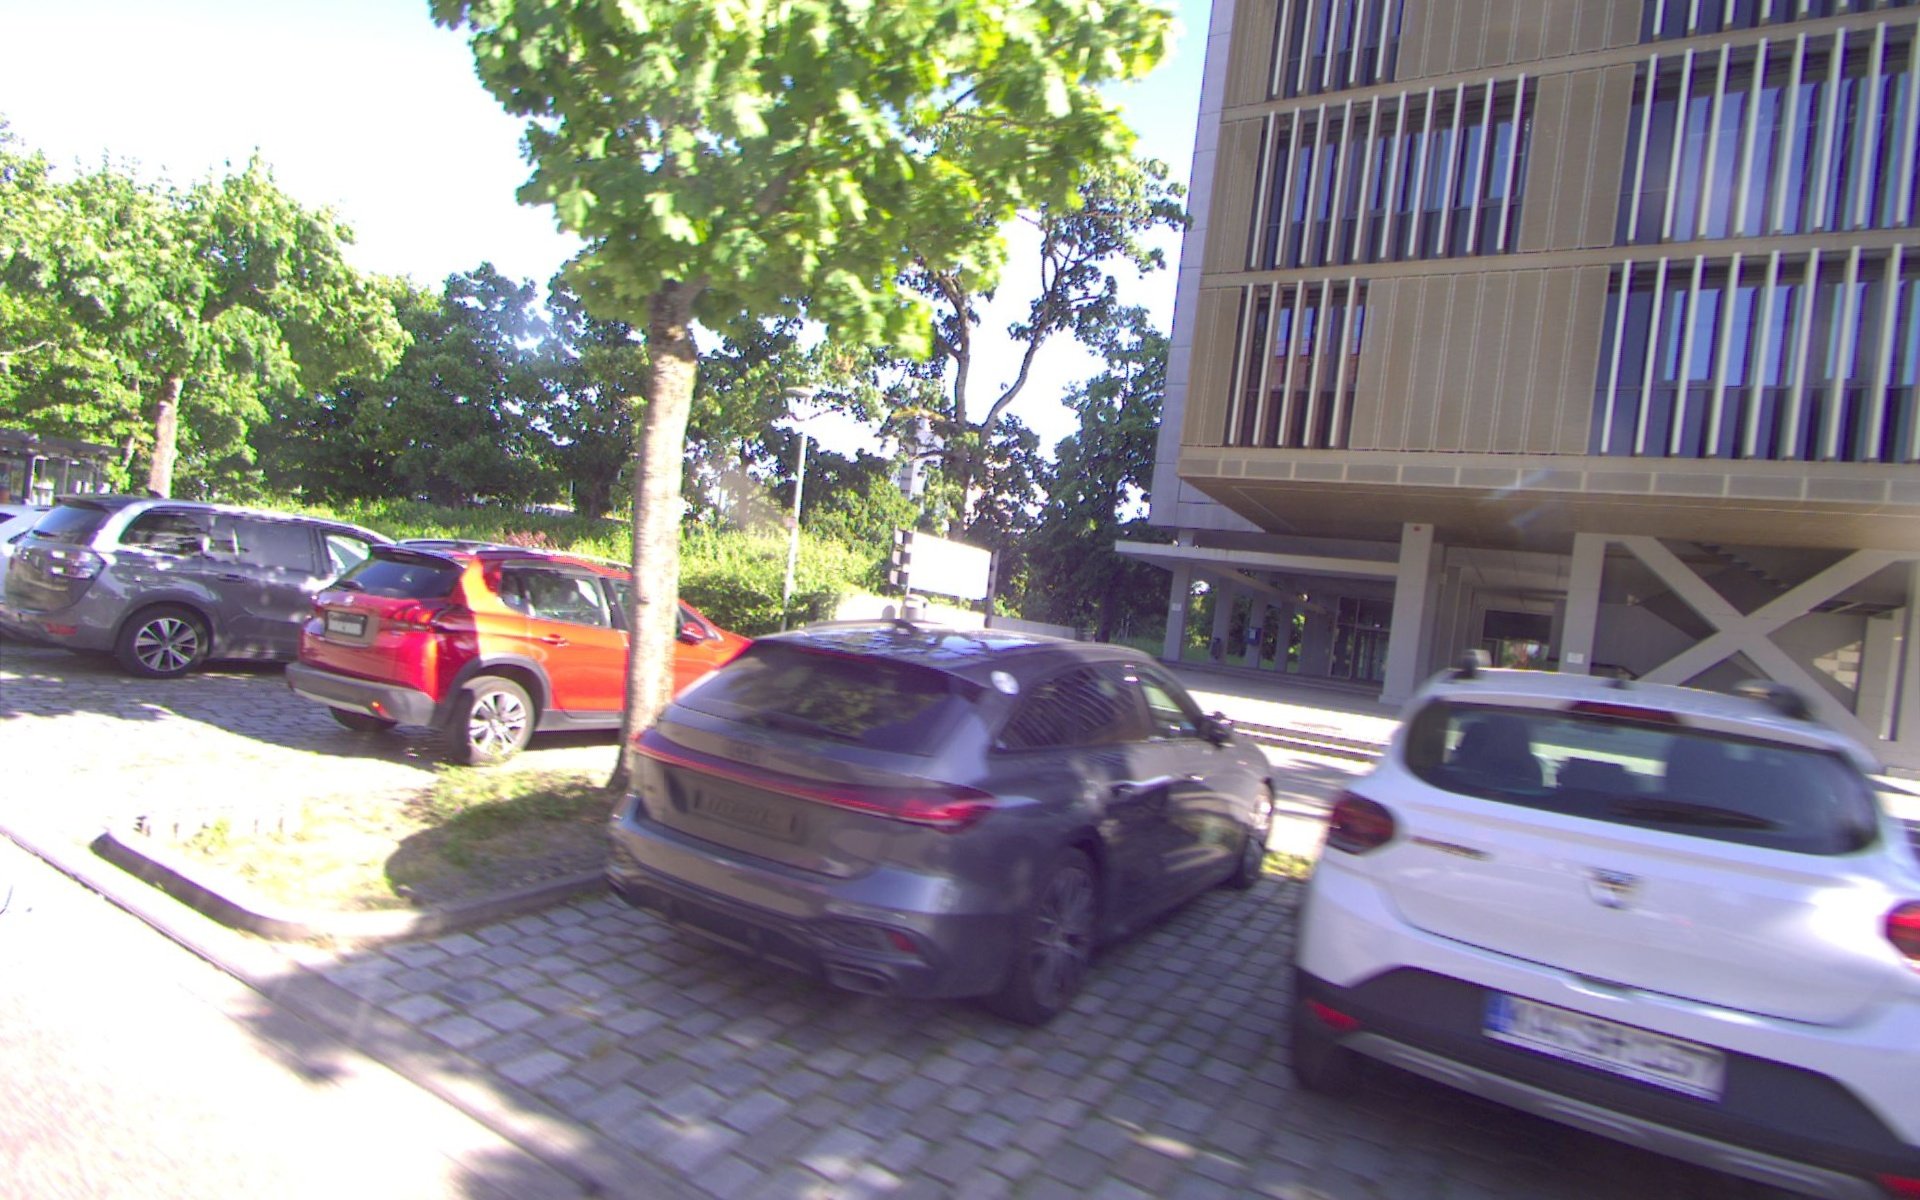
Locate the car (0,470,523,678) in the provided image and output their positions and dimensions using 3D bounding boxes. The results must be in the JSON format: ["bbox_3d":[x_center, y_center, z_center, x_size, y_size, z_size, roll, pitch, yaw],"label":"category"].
[{"bbox_3d":[-7.302,-0.148,10.686,2.040,1.661,4.408,7,0,31],"label":"car"}]

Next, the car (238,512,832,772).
[{"bbox_3d":[-3.274,0.376,8.726,1.845,1.555,4.408,7,0,31],"label":"car"}]

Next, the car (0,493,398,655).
[{"bbox_3d":[-9.312,-0.267,11.705,1.864,1.481,4.408,7,0,31],"label":"car"}]

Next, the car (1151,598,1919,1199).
[{"bbox_3d":[2.679,1.032,4.536,2.040,1.576,4.408,7,0,31],"label":"car"}]

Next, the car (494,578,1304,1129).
[{"bbox_3d":[0.219,0.877,5.328,2.040,1.426,4.408,7,0,31],"label":"car"}]
